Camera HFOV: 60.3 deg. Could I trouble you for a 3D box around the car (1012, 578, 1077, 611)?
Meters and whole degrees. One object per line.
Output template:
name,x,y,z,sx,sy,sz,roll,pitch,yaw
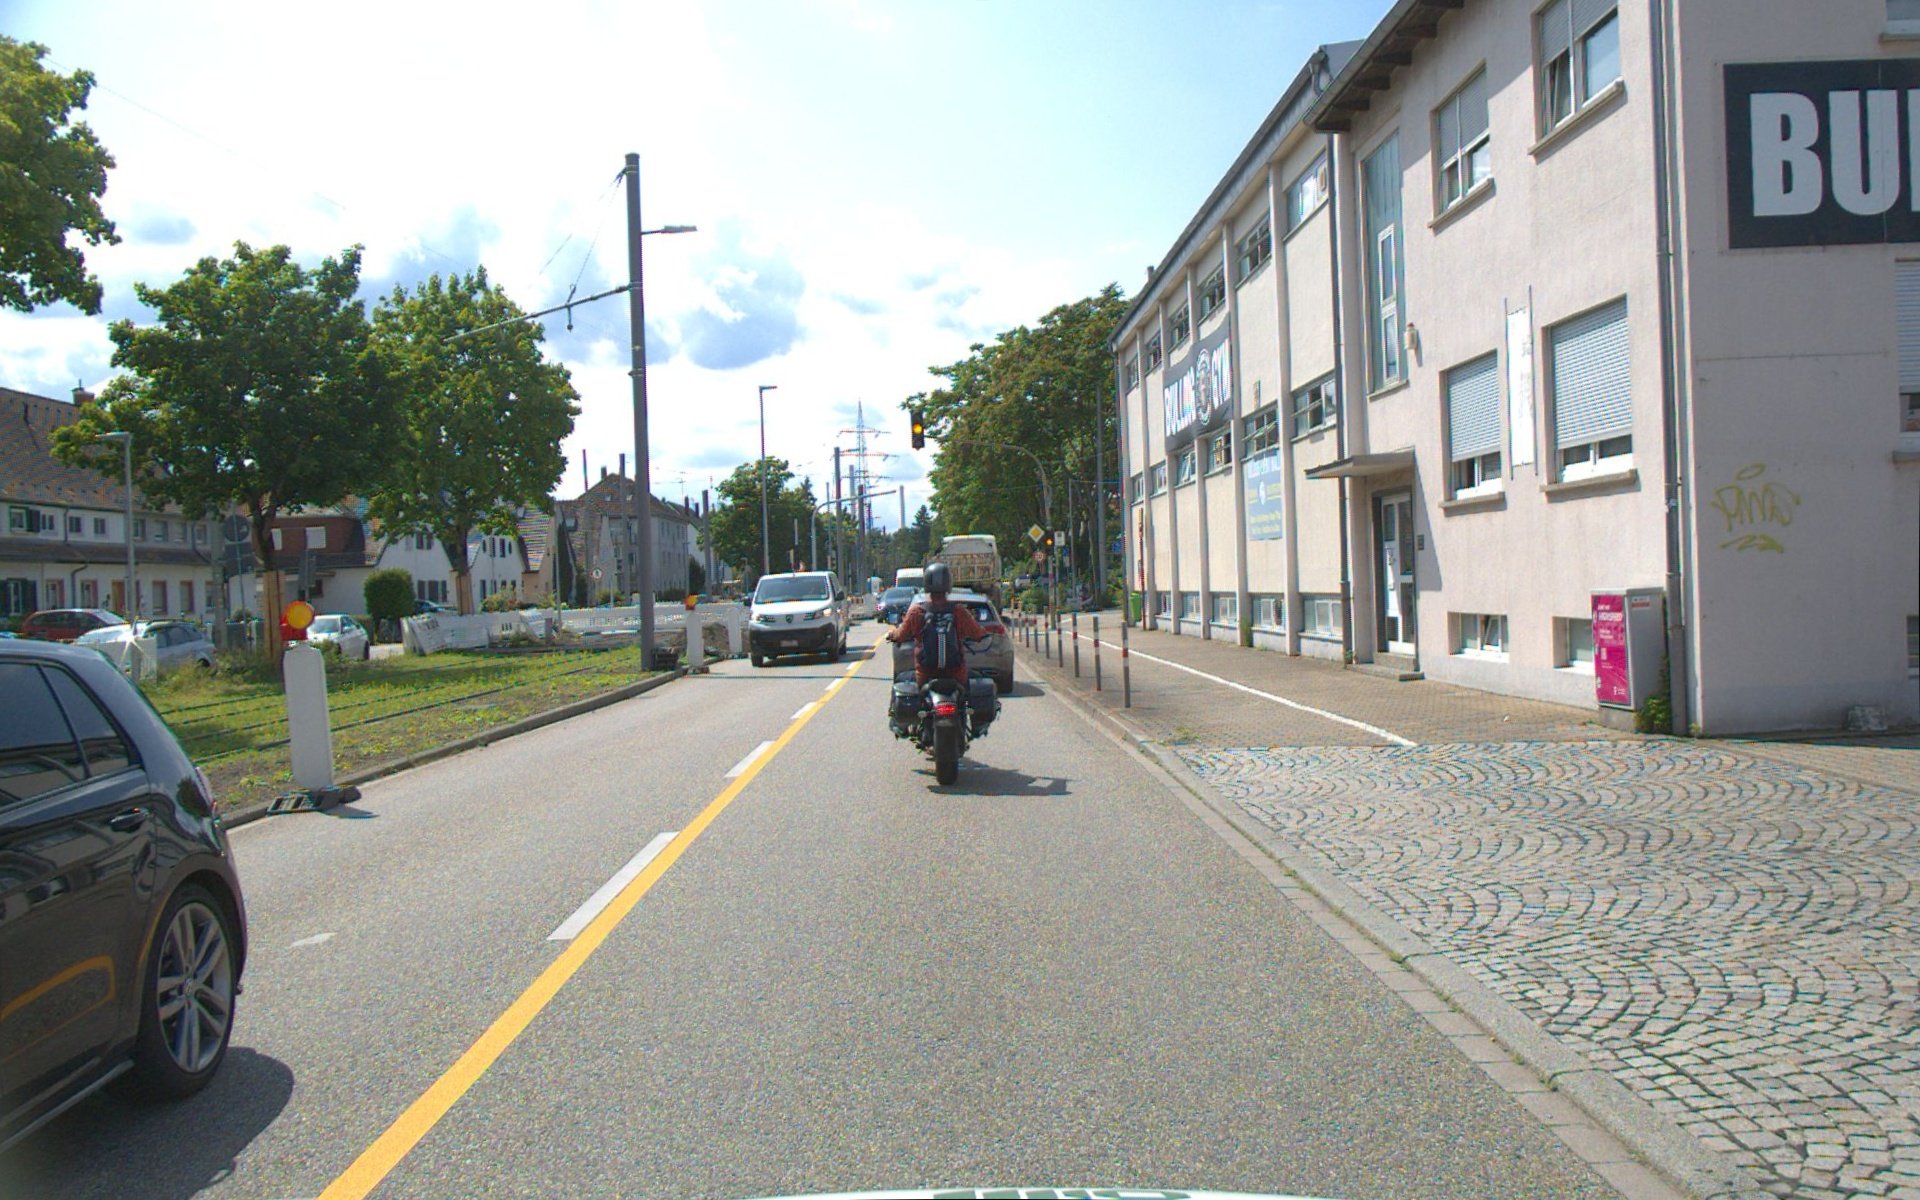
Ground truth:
car,5.118,-0.315,99.841,1.773,1.959,3.972,-1,0,44

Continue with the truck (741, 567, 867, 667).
truck,-3.336,0.316,36.423,1.782,1.942,5.119,-4,0,5

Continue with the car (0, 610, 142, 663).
car,-28.938,1.174,53.620,3.906,1.536,1.725,-2,0,-2

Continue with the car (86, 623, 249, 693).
car,-15.805,1.124,33.177,1.472,1.197,3.747,-2,1,-1

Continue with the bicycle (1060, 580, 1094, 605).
bicycle,5.720,-0.378,80.844,1.672,1.192,0.438,0,0,4

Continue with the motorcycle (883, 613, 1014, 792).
motorcycle,-0.097,0.733,12.900,0.923,1.221,2.472,0,0,-1

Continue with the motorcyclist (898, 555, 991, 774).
motorcyclist,-0.121,0.482,12.678,0.684,1.632,0.692,0,0,-1

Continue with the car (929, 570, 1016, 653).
car,0.323,0.212,39.156,1.862,1.742,4.720,-2,2,1

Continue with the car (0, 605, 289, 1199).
car,-3.068,0.792,3.574,1.658,1.437,3.858,-4,0,-2

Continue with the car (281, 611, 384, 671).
car,-16.934,1.076,44.809,1.511,1.400,4.246,-4,1,-6

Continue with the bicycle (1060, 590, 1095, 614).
bicycle,5.705,0.094,80.265,1.672,1.192,0.438,0,0,4

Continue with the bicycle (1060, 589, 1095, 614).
bicycle,5.691,0.088,79.798,1.672,1.192,0.438,0,0,4

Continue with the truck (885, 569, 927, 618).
truck,-3.050,-0.427,94.554,2.050,2.519,5.196,-3,2,0

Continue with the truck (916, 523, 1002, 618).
truck,0.051,-1.004,60.631,2.906,3.228,7.765,0,0,2

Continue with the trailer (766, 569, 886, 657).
trailer,-3.174,0.294,40.448,2.019,1.867,5.488,-4,0,4

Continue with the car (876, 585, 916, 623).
car,-2.719,0.152,70.702,1.611,1.524,4.267,-2,1,-2

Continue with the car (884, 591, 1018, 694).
car,-0.218,0.580,25.119,1.698,1.428,4.082,0,0,-5
